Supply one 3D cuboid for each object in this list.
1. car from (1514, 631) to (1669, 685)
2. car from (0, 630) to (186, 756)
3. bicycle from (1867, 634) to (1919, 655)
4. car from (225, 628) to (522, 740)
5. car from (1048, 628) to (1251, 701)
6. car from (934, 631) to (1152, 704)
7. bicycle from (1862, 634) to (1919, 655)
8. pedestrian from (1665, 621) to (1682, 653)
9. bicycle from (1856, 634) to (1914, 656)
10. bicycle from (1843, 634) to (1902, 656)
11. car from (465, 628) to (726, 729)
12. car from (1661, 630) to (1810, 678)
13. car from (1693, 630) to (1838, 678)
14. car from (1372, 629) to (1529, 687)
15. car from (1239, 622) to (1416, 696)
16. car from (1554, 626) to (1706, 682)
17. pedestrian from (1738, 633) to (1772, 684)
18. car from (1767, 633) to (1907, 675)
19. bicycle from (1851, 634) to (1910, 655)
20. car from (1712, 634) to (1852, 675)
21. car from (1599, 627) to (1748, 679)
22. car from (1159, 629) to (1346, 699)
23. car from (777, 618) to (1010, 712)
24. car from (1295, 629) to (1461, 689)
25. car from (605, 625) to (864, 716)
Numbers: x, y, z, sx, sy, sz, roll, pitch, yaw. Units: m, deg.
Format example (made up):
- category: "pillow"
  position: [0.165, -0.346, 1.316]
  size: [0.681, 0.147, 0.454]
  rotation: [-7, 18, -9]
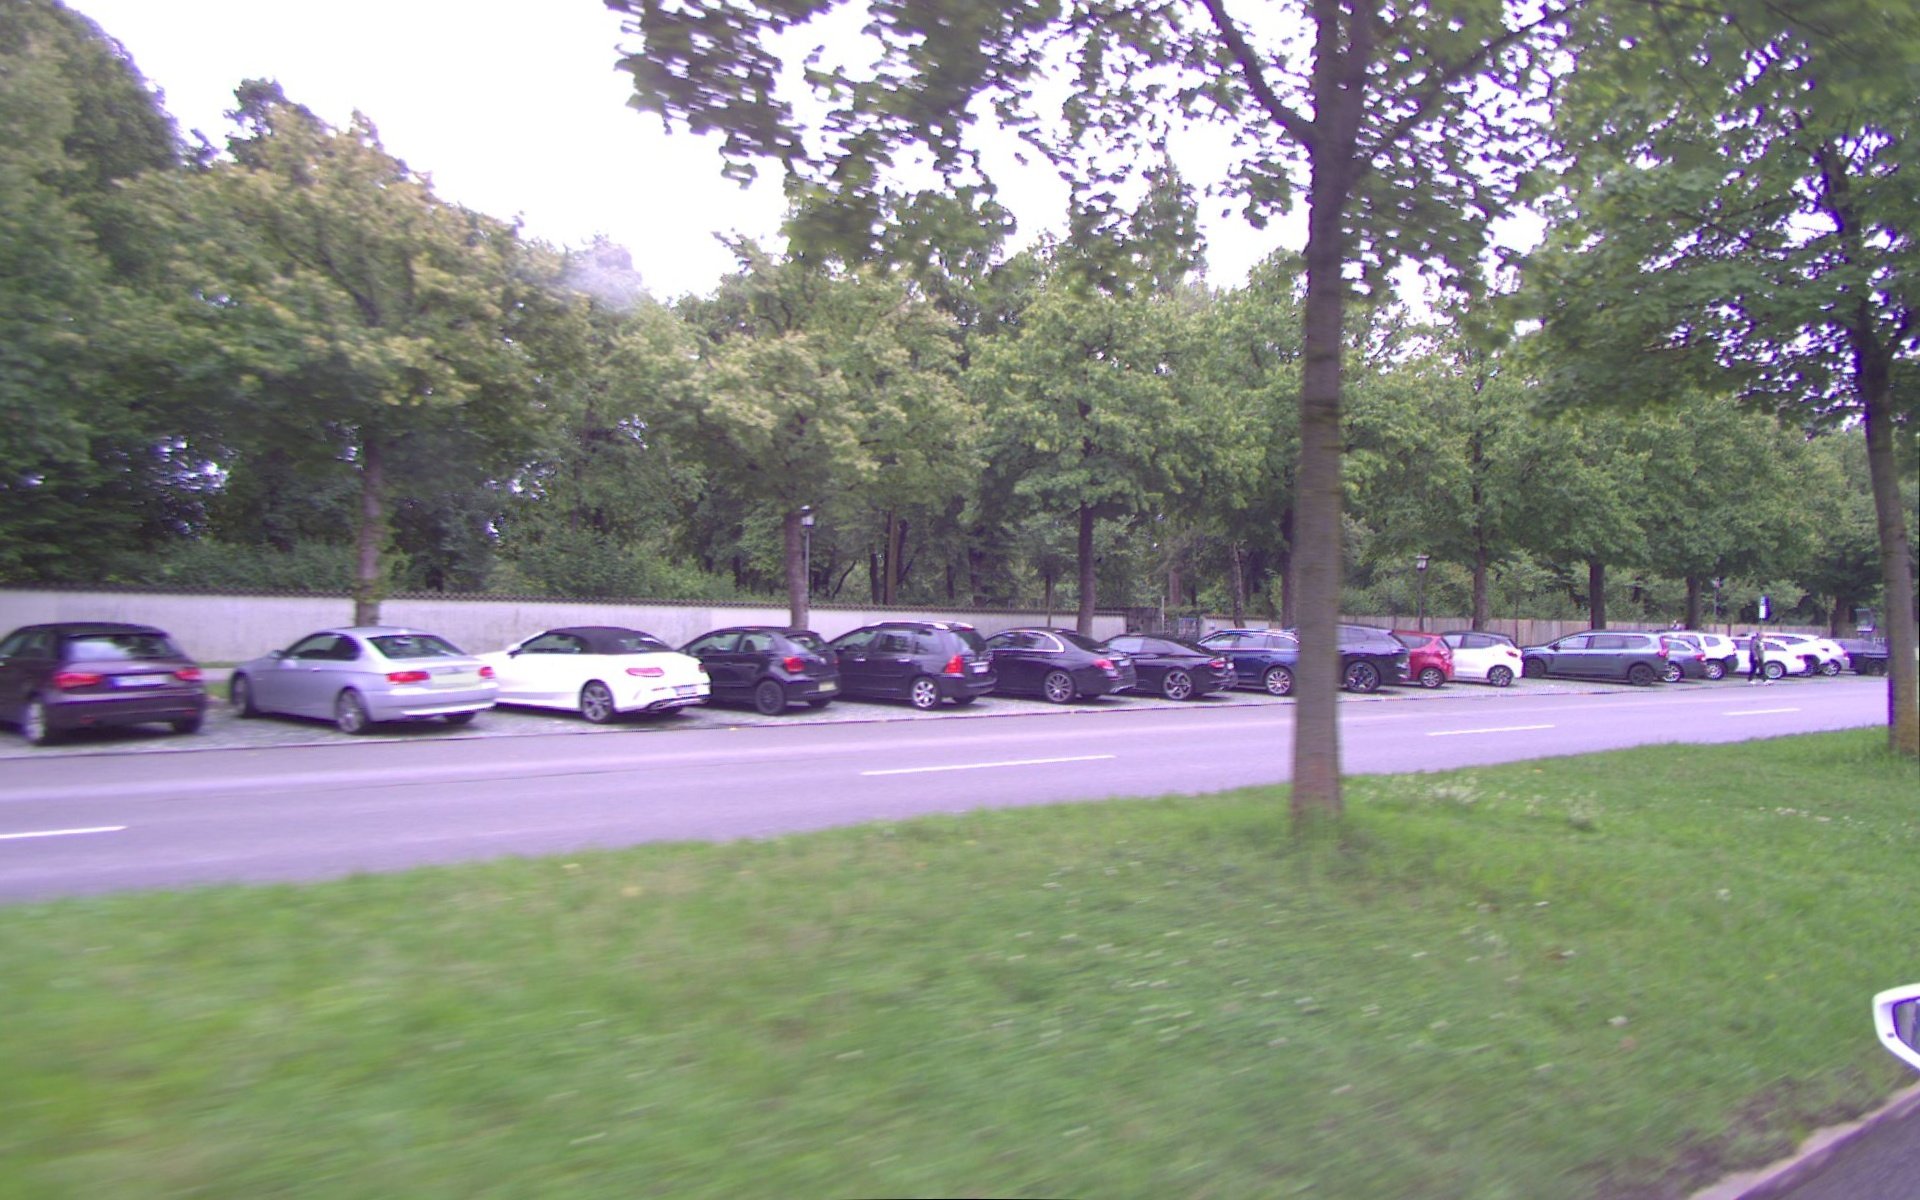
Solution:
- category: "car"
  position: [20.093, 1.806, 32.160]
  size: [4.113, 1.563, 1.915]
  rotation: [0, -1, 31]
- category: "car"
  position: [-11.982, 1.110, 13.151]
  size: [3.517, 1.372, 1.750]
  rotation: [0, -1, 31]
- category: "bicycle"
  position: [57.203, 2.720, 61.430]
  size: [0.698, 1.159, 2.490]
  rotation: [1, 0, -27]
- category: "car"
  position: [-8.492, 1.122, 14.530]
  size: [3.925, 1.372, 1.849]
  rotation: [0, -1, 26]
- category: "car"
  position: [4.244, 1.384, 22.571]
  size: [4.121, 1.428, 1.917]
  rotation: [0, -1, 28]
- category: "car"
  position: [1.724, 1.344, 20.996]
  size: [4.125, 1.340, 1.917]
  rotation: [0, -1, 28]
- category: "bicycle"
  position: [56.571, 2.705, 61.080]
  size: [0.646, 1.159, 2.490]
  rotation: [1, 0, -27]
- category: "pedestrian"
  position: [37.470, 1.932, 52.772]
  size: [0.668, 1.633, 0.691]
  rotation: [0, -1, 30]
- category: "bicycle"
  position: [55.884, 2.715, 60.726]
  size: [0.593, 1.159, 2.490]
  rotation: [1, 0, -27]
- category: "bicycle"
  position: [54.411, 2.655, 59.930]
  size: [0.714, 1.159, 2.490]
  rotation: [1, 0, -27]
- category: "car"
  position: [-5.910, 1.191, 16.260]
  size: [3.967, 1.400, 1.673]
  rotation: [0, -1, 26]
- category: "car"
  position: [28.372, 1.953, 36.910]
  size: [4.032, 1.606, 1.917]
  rotation: [0, -1, 28]
- category: "car"
  position: [30.848, 2.040, 38.606]
  size: [4.032, 1.674, 1.917]
  rotation: [0, -1, 28]
- category: "car"
  position: [14.381, 1.656, 29.473]
  size: [4.035, 1.521, 1.915]
  rotation: [0, -1, 31]
- category: "car"
  position: [9.368, 1.443, 25.632]
  size: [4.032, 1.702, 1.917]
  rotation: [0, -1, 28]
- category: "car"
  position: [22.307, 1.760, 33.625]
  size: [4.032, 1.718, 1.917]
  rotation: [0, -1, 28]
- category: "pedestrian"
  position: [25.720, 1.883, 32.481]
  size: [0.674, 1.633, 0.719]
  rotation: [1, -1, -37]
- category: "car"
  position: [36.212, 2.204, 41.597]
  size: [4.032, 1.493, 1.703]
  rotation: [1, -1, 28]
- category: "bicycle"
  position: [55.293, 2.676, 60.374]
  size: [0.698, 1.159, 2.490]
  rotation: [1, 0, -27]
- category: "car"
  position: [33.005, 2.144, 40.472]
  size: [4.032, 1.493, 1.917]
  rotation: [0, -1, 28]
- category: "car"
  position: [25.064, 1.823, 35.477]
  size: [4.032, 1.718, 1.917]
  rotation: [0, -1, 28]
- category: "car"
  position: [7.038, 1.481, 24.168]
  size: [4.032, 1.489, 1.917]
  rotation: [0, -1, 28]
- category: "car"
  position: [-1.257, 1.184, 19.316]
  size: [4.028, 1.618, 1.919]
  rotation: [0, -1, 22]
- category: "car"
  position: [11.632, 1.586, 27.987]
  size: [4.035, 1.521, 1.915]
  rotation: [0, -1, 31]
- category: "car"
  position: [-4.030, 1.195, 18.086]
  size: [4.157, 1.441, 1.919]
  rotation: [0, -1, 20]
